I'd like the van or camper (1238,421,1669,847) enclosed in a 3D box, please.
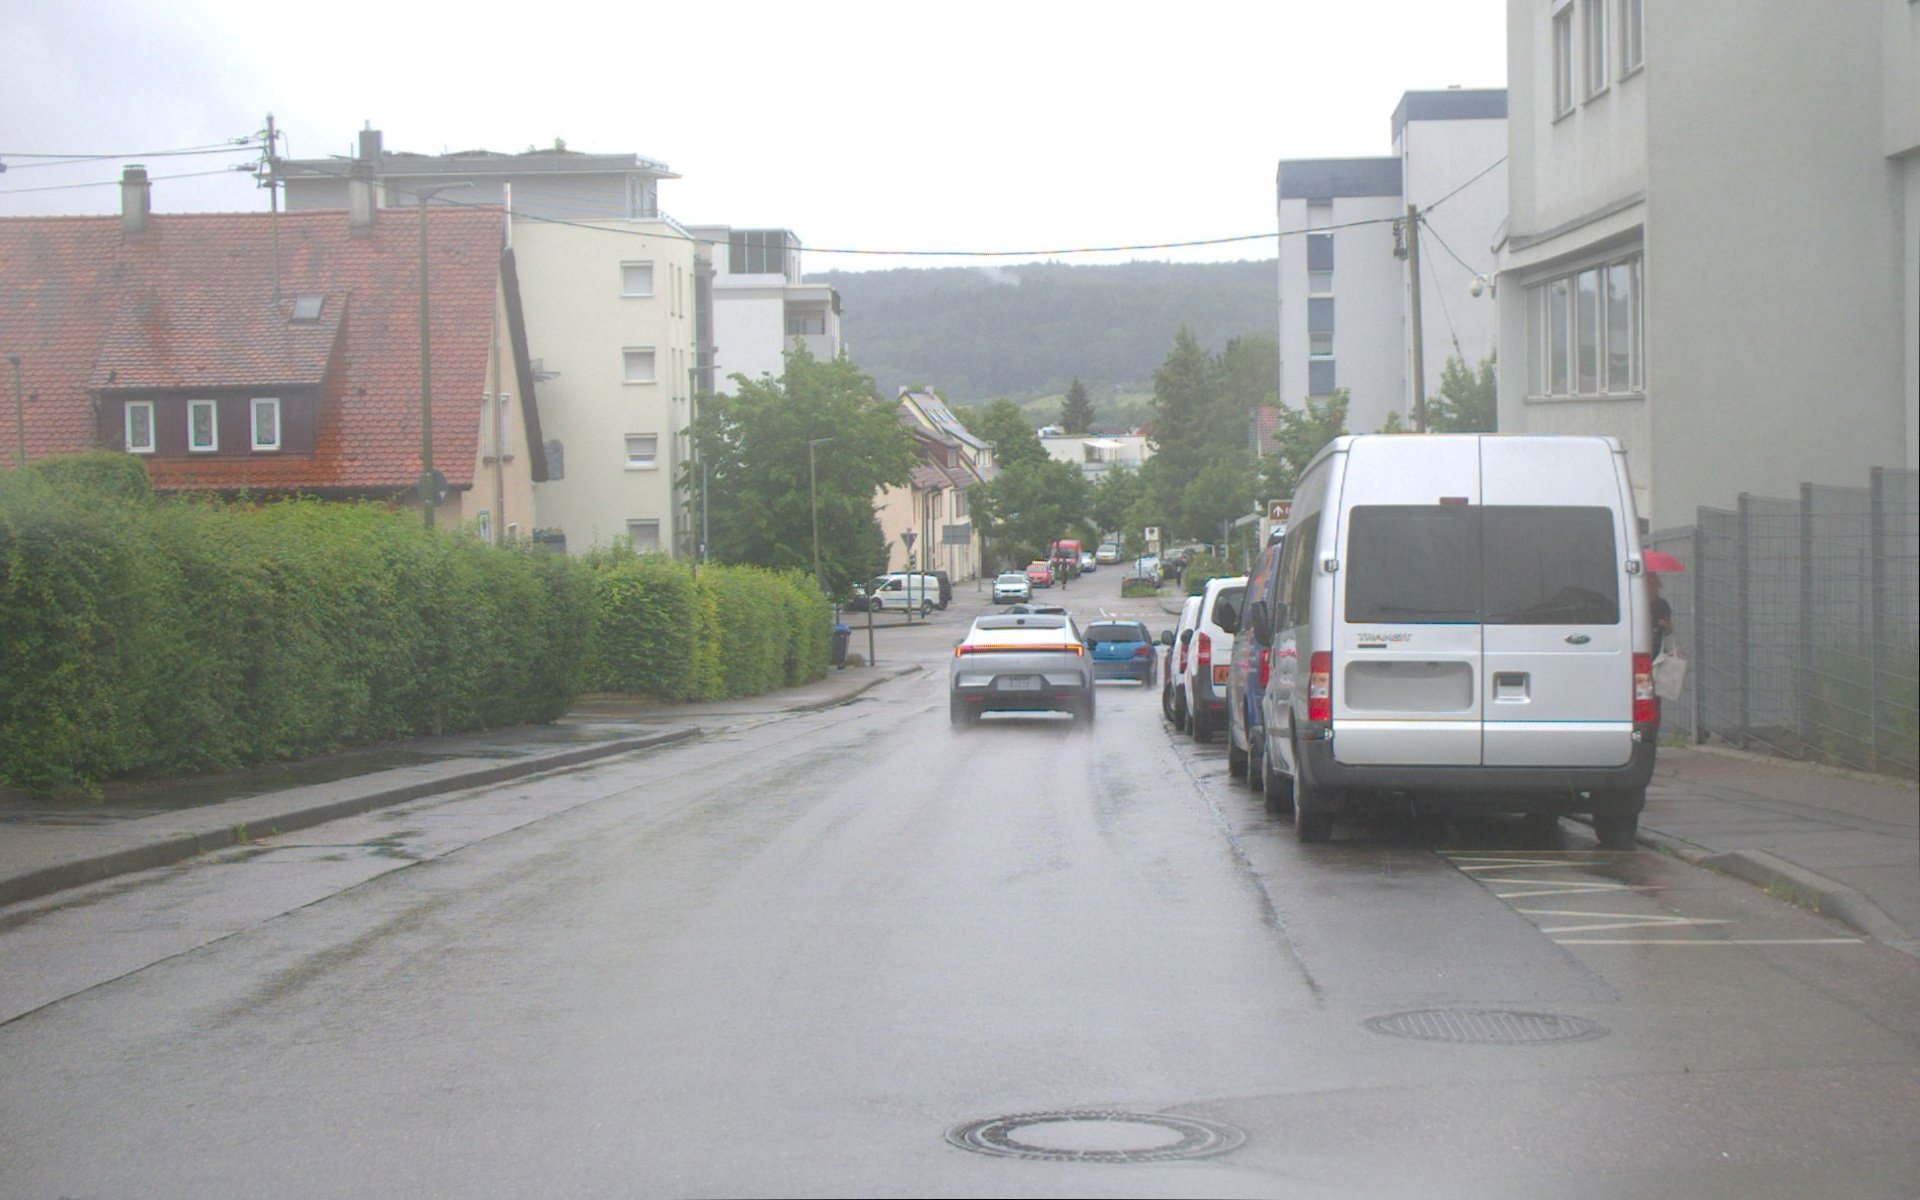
[{"bbox_3d":[2.881,0.179,21.267,1.993,2.235,5.440,-2,0,2],"label":"van or camper"}]

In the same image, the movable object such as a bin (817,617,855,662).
[{"bbox_3d":[-3.725,1.194,103.657,1.071,1.343,1.319,0,0,1],"label":"movable object such as a bin"}]

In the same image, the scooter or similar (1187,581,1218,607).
[{"bbox_3d":[10.851,-0.270,153.892,1.268,1.078,0.876,-2,1,-1],"label":"scooter or similar"}]

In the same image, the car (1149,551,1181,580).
[{"bbox_3d":[13.056,-2.227,218.926,1.901,1.739,4.191,-2,1,3],"label":"car"}]

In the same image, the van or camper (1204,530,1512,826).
[{"bbox_3d":[3.104,0.571,27.824,1.993,2.106,5.202,-2,0,2],"label":"van or camper"}]

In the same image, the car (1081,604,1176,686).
[{"bbox_3d":[3.844,1.014,79.058,1.993,1.678,4.000,-2,1,1],"label":"car"}]

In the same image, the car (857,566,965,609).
[{"bbox_3d":[-2.341,-0.594,164.216,4.829,1.829,2.000,-3,1,-35],"label":"car"}]

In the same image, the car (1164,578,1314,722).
[{"bbox_3d":[3.752,0.661,46.909,1.878,1.827,4.488,-1,0,3],"label":"car"}]

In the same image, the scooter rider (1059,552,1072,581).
[{"bbox_3d":[6.604,-2.106,215.071,0.752,1.789,0.673,-2,1,3],"label":"scooter rider"}]

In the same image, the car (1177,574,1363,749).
[{"bbox_3d":[3.640,0.700,41.130,1.994,1.928,4.975,-1,0,3],"label":"car"}]

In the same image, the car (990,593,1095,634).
[{"bbox_3d":[3.181,0.534,133.100,1.885,1.520,3.998,-2,1,-40],"label":"car"}]

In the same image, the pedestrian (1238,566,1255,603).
[{"bbox_3d":[12.929,-0.684,155.062,0.647,1.642,0.526,1,0,-3],"label":"pedestrian"}]

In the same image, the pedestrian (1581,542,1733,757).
[{"bbox_3d":[5.919,0.409,29.241,1.023,1.752,1.031,-2,1,0],"label":"pedestrian"}]

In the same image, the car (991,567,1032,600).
[{"bbox_3d":[2.763,-0.896,183.724,1.994,1.620,4.191,-2,1,3],"label":"car"}]

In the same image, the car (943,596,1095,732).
[{"bbox_3d":[0.832,0.859,48.406,1.993,1.678,4.000,-2,1,1],"label":"car"}]

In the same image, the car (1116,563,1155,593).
[{"bbox_3d":[10.080,-1.286,196.938,2.146,1.583,4.128,-2,1,3],"label":"car"}]

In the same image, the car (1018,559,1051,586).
[{"bbox_3d":[4.806,-1.776,220.122,1.901,1.553,4.191,-2,1,3],"label":"car"}]
